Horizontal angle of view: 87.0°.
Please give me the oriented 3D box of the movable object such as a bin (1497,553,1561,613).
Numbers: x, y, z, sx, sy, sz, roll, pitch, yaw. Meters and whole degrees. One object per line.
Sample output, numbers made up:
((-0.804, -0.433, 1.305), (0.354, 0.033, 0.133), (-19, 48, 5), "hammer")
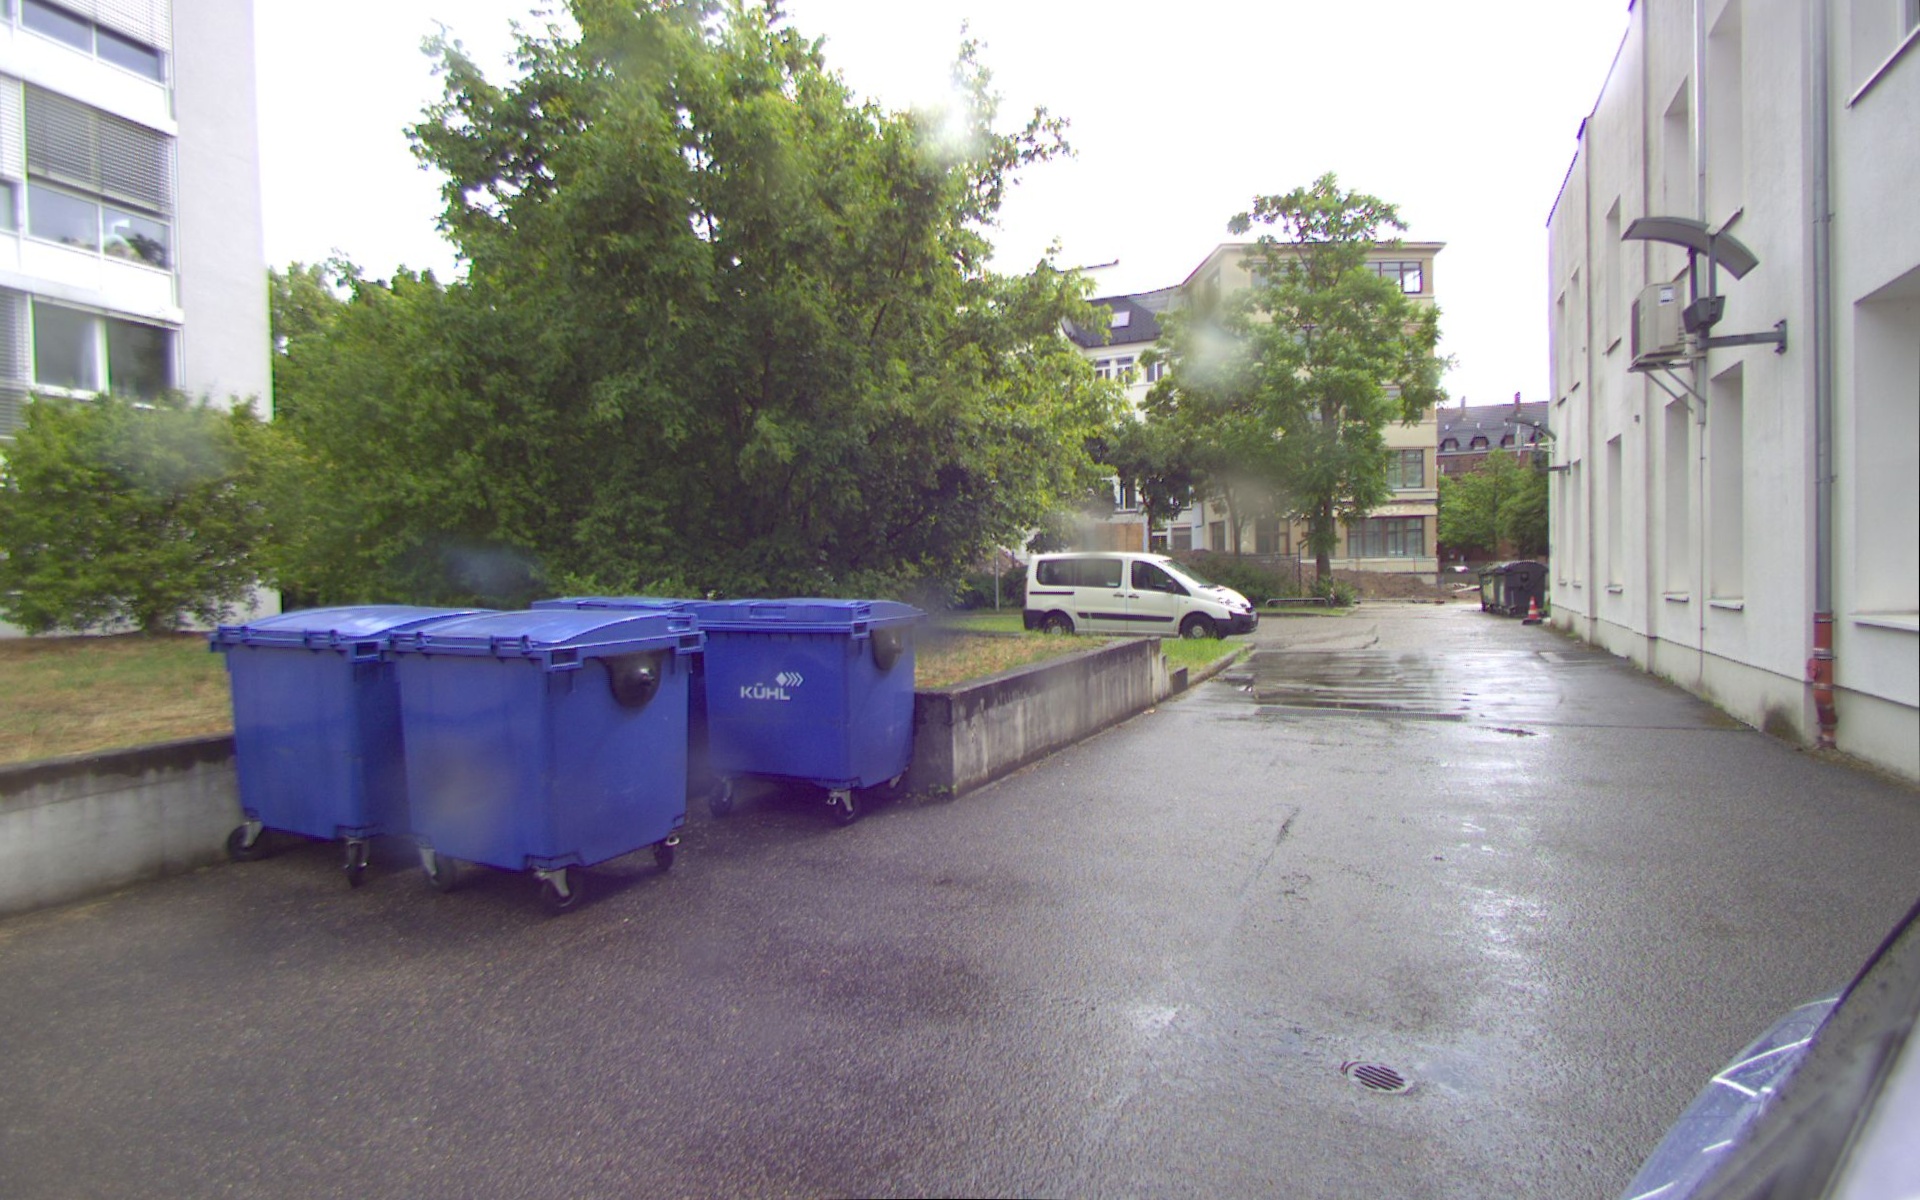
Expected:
((14.662, -0.465, 26.117), (1.153, 1.501, 1.585), (1, 2, 19), "movable object such as a bin")

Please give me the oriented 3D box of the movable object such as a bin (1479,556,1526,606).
((16.991, -0.610, 31.674), (1.097, 1.491, 1.468), (-2, 1, 35), "movable object such as a bin")

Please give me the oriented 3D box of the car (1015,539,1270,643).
((3.796, -0.174, 21.188), (4.841, 1.949, 2.081), (-2, 2, 27), "car")

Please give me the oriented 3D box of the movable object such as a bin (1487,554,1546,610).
((15.177, -0.514, 27.653), (1.153, 1.501, 1.488), (1, 2, 19), "movable object such as a bin")

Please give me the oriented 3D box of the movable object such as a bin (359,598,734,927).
((-2.007, 0.676, 4.997), (1.362, 1.320, 1.073), (0, 2, 26), "movable object such as a bin")

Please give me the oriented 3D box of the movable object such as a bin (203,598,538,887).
((-3.182, 0.673, 5.533), (1.177, 1.320, 1.097), (0, 2, 25), "movable object such as a bin")

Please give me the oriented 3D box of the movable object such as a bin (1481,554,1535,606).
((16.366, -0.587, 30.264), (1.152, 1.502, 1.395), (-1, -1, 18), "movable object such as a bin")

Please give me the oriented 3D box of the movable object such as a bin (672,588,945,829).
((-0.933, 0.599, 6.429), (1.328, 1.307, 1.086), (0, 2, 27), "movable object such as a bin")

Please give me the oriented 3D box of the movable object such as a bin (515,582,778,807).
((-2.130, 0.562, 6.987), (1.284, 1.353, 1.186), (0, 1, 27), "movable object such as a bin")
